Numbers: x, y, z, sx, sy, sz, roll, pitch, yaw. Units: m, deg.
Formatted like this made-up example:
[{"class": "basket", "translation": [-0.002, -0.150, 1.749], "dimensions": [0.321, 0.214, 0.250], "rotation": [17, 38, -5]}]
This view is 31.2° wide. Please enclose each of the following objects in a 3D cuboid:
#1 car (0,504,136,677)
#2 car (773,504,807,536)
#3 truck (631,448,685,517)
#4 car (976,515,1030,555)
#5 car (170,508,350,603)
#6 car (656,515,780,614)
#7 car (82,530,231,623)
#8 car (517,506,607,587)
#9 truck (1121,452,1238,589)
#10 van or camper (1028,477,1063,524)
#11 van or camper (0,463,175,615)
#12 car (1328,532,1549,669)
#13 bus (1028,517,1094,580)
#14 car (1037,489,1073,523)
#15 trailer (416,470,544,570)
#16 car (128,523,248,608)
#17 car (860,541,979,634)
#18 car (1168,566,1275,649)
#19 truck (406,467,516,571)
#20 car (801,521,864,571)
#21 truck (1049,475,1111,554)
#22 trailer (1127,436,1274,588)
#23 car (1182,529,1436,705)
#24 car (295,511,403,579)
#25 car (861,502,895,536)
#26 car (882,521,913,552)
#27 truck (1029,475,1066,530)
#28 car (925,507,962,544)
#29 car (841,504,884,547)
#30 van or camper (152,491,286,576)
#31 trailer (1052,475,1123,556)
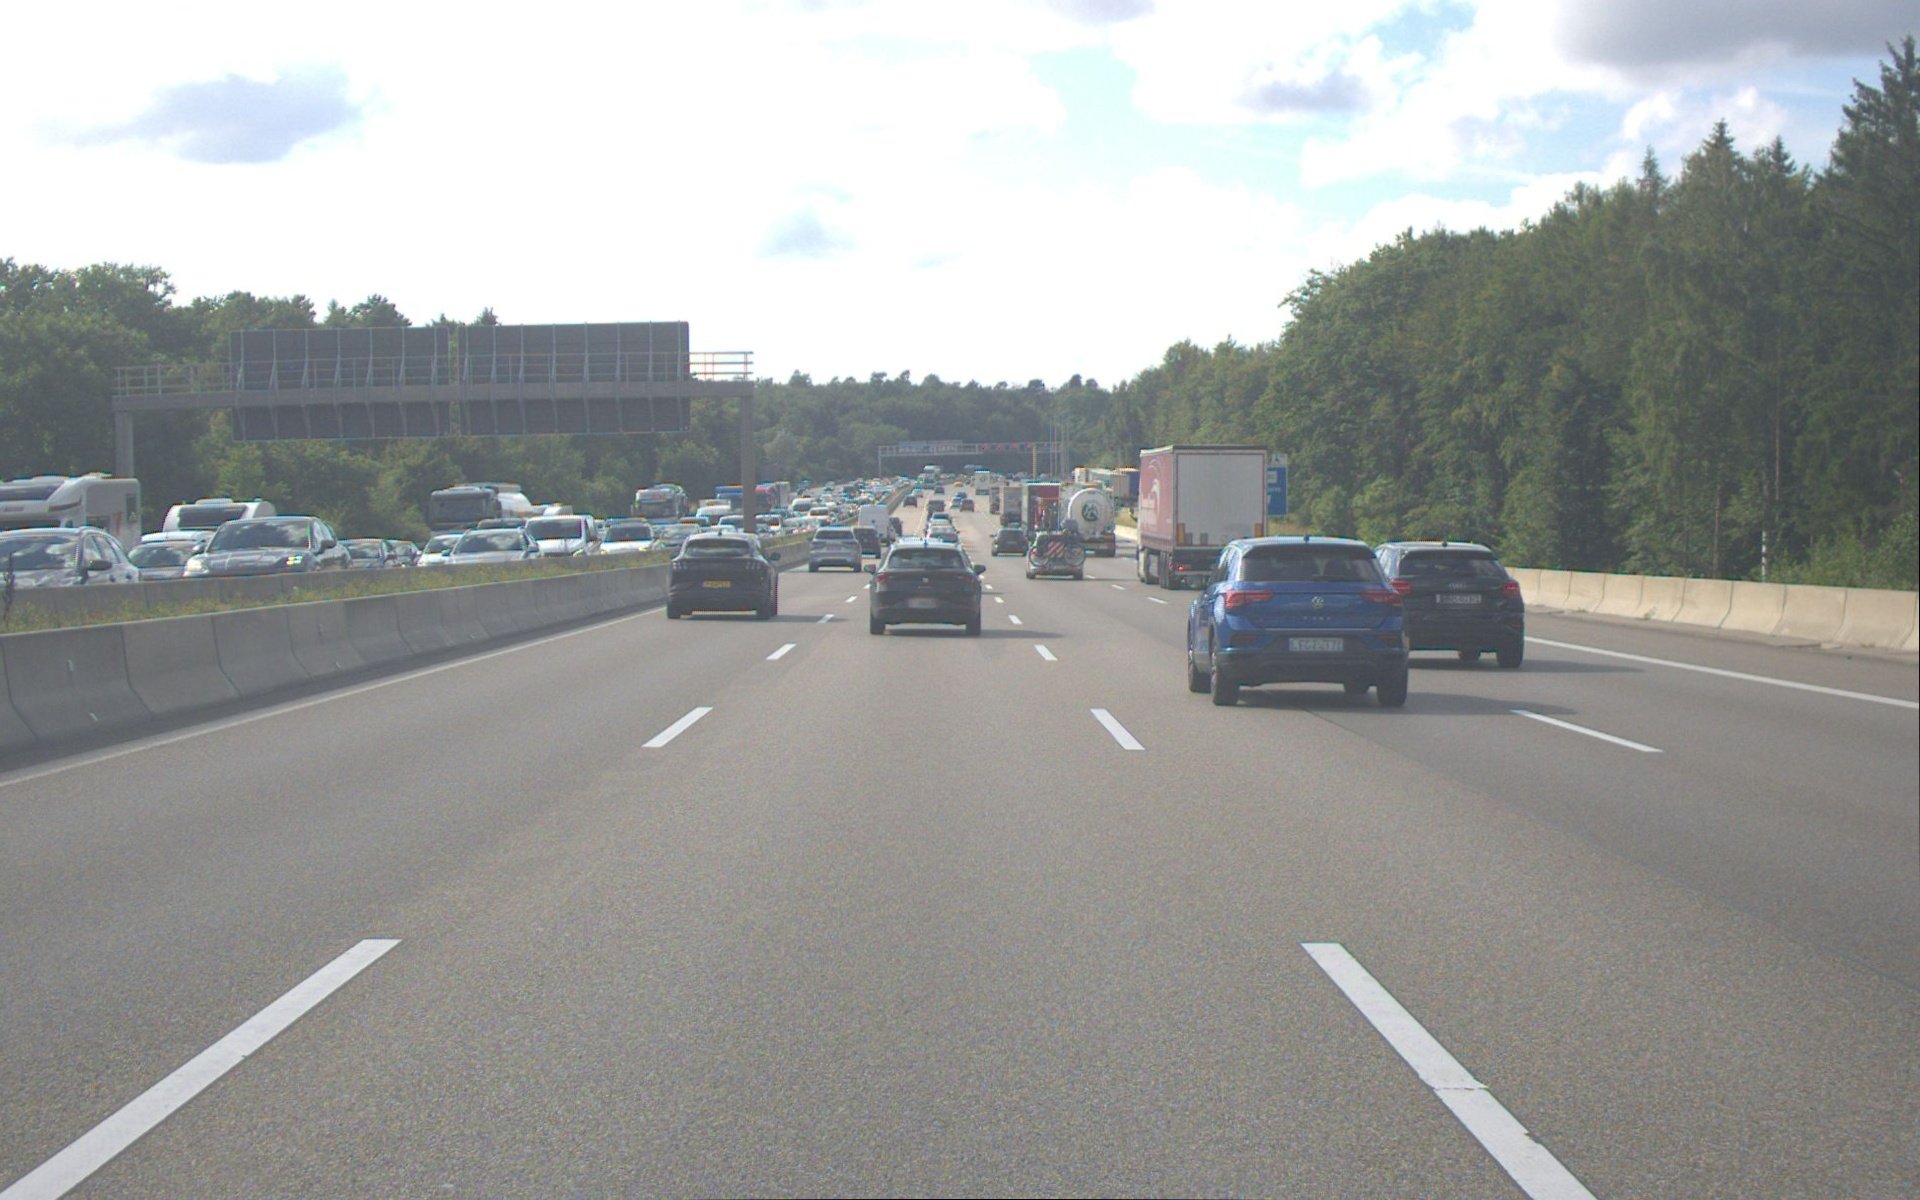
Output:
[{"class": "car", "translation": [-10.356, -0.147, 37.268], "dimensions": [1.816, 1.758, 4.631], "rotation": [0, 1, -1]}, {"class": "car", "translation": [-11.140, -5.210, 224.916], "dimensions": [1.993, 2.007, 4.410], "rotation": [0, 1, 0]}, {"class": "truck", "translation": [-19.081, -7.405, 217.176], "dimensions": [2.853, 4.219, 5.713], "rotation": [1, 1, 0]}, {"class": "car", "translation": [2.199, -3.368, 176.678], "dimensions": [1.993, 2.007, 4.001], "rotation": [1, 1, -11]}, {"class": "car", "translation": [-10.647, -0.697, 52.628], "dimensions": [1.832, 1.383, 4.904], "rotation": [0, 1, -1]}, {"class": "car", "translation": [-4.424, -0.669, 63.315], "dimensions": [1.993, 1.770, 4.000], "rotation": [0, 1, 0]}, {"class": "car", "translation": [-14.835, -0.459, 63.679], "dimensions": [1.832, 1.654, 4.272], "rotation": [0, 1, -1]}, {"class": "car", "translation": [-10.626, -1.456, 92.137], "dimensions": [1.832, 2.055, 5.501], "rotation": [-1, 1, -1]}, {"class": "truck", "translation": [6.711, -2.416, 105.830], "dimensions": [3.080, 4.049, 6.070], "rotation": [1, 0, -1]}, {"class": "van or camper", "translation": [6.014, -6.993, 241.524], "dimensions": [2.351, 3.133, 5.710], "rotation": [1, 1, 1]}, {"class": "van or camper", "translation": [-17.894, -1.159, 69.196], "dimensions": [2.470, 2.879, 7.482], "rotation": [1, 0, 0]}, {"class": "car", "translation": [5.857, -0.020, 42.727], "dimensions": [1.993, 1.569, 5.278], "rotation": [1, 1, 0]}, {"class": "bus", "translation": [3.292, -1.669, 112.581], "dimensions": [1.993, 2.007, 4.000], "rotation": [1, 1, 0]}, {"class": "car", "translation": [5.801, -5.728, 209.913], "dimensions": [1.993, 2.007, 4.000], "rotation": [1, 1, -1]}, {"class": "trailer", "translation": [-19.248, -3.254, 138.818], "dimensions": [3.411, 3.815, 13.262], "rotation": [1, 1, -1]}, {"class": "car", "translation": [-17.891, -0.820, 79.882], "dimensions": [1.832, 1.909, 4.482], "rotation": [1, 1, -1]}, {"class": "car", "translation": [-0.676, -0.221, 54.483], "dimensions": [1.734, 1.360, 4.001], "rotation": [1, 1, -2]}, {"class": "car", "translation": [5.126, 0.126, 67.889], "dimensions": [1.715, 1.506, 4.302], "rotation": [-1, 1, -1]}, {"class": "truck", "translation": [-19.195, -3.104, 132.560], "dimensions": [3.416, 3.887, 6.802], "rotation": [0, 1, -2]}, {"class": "car", "translation": [-4.711, -2.016, 127.800], "dimensions": [2.154, 1.770, 4.000], "rotation": [1, 1, 0]}, {"class": "truck", "translation": [6.416, -4.579, 184.598], "dimensions": [3.045, 4.146, 7.127], "rotation": [0, 1, 0]}, {"class": "trailer", "translation": [6.781, -2.434, 98.936], "dimensions": [3.038, 4.021, 13.891], "rotation": [1, 1, -1]}, {"class": "car", "translation": [3.228, 0.136, 32.627], "dimensions": [1.924, 1.536, 4.645], "rotation": [0, 0, 0]}, {"class": "car", "translation": [-14.366, -1.309, 80.990], "dimensions": [1.832, 1.532, 4.243], "rotation": [1, 1, -1]}, {"class": "car", "translation": [-5.030, -4.971, 211.230], "dimensions": [1.993, 2.007, 4.000], "rotation": [1, 1, -1]}, {"class": "car", "translation": [-4.112, -4.197, 227.360], "dimensions": [1.993, 2.007, 4.000], "rotation": [1, 1, -1]}, {"class": "truck", "translation": [5.932, -6.592, 234.056], "dimensions": [2.358, 3.560, 11.266], "rotation": [1, 1, 1]}, {"class": "car", "translation": [-0.948, -4.194, 194.037], "dimensions": [1.993, 2.007, 4.000], "rotation": [-1, 1, -1]}, {"class": "car", "translation": [-4.708, -3.607, 166.627], "dimensions": [1.993, 2.007, 4.000], "rotation": [1, 1, -1]}, {"class": "van or camper", "translation": [-18.303, -1.655, 85.138], "dimensions": [2.283, 2.004, 4.688], "rotation": [1, 1, 0]}, {"class": "trailer", "translation": [6.529, -4.336, 177.842], "dimensions": [3.036, 4.002, 12.246], "rotation": [0, 1, -1]}]
